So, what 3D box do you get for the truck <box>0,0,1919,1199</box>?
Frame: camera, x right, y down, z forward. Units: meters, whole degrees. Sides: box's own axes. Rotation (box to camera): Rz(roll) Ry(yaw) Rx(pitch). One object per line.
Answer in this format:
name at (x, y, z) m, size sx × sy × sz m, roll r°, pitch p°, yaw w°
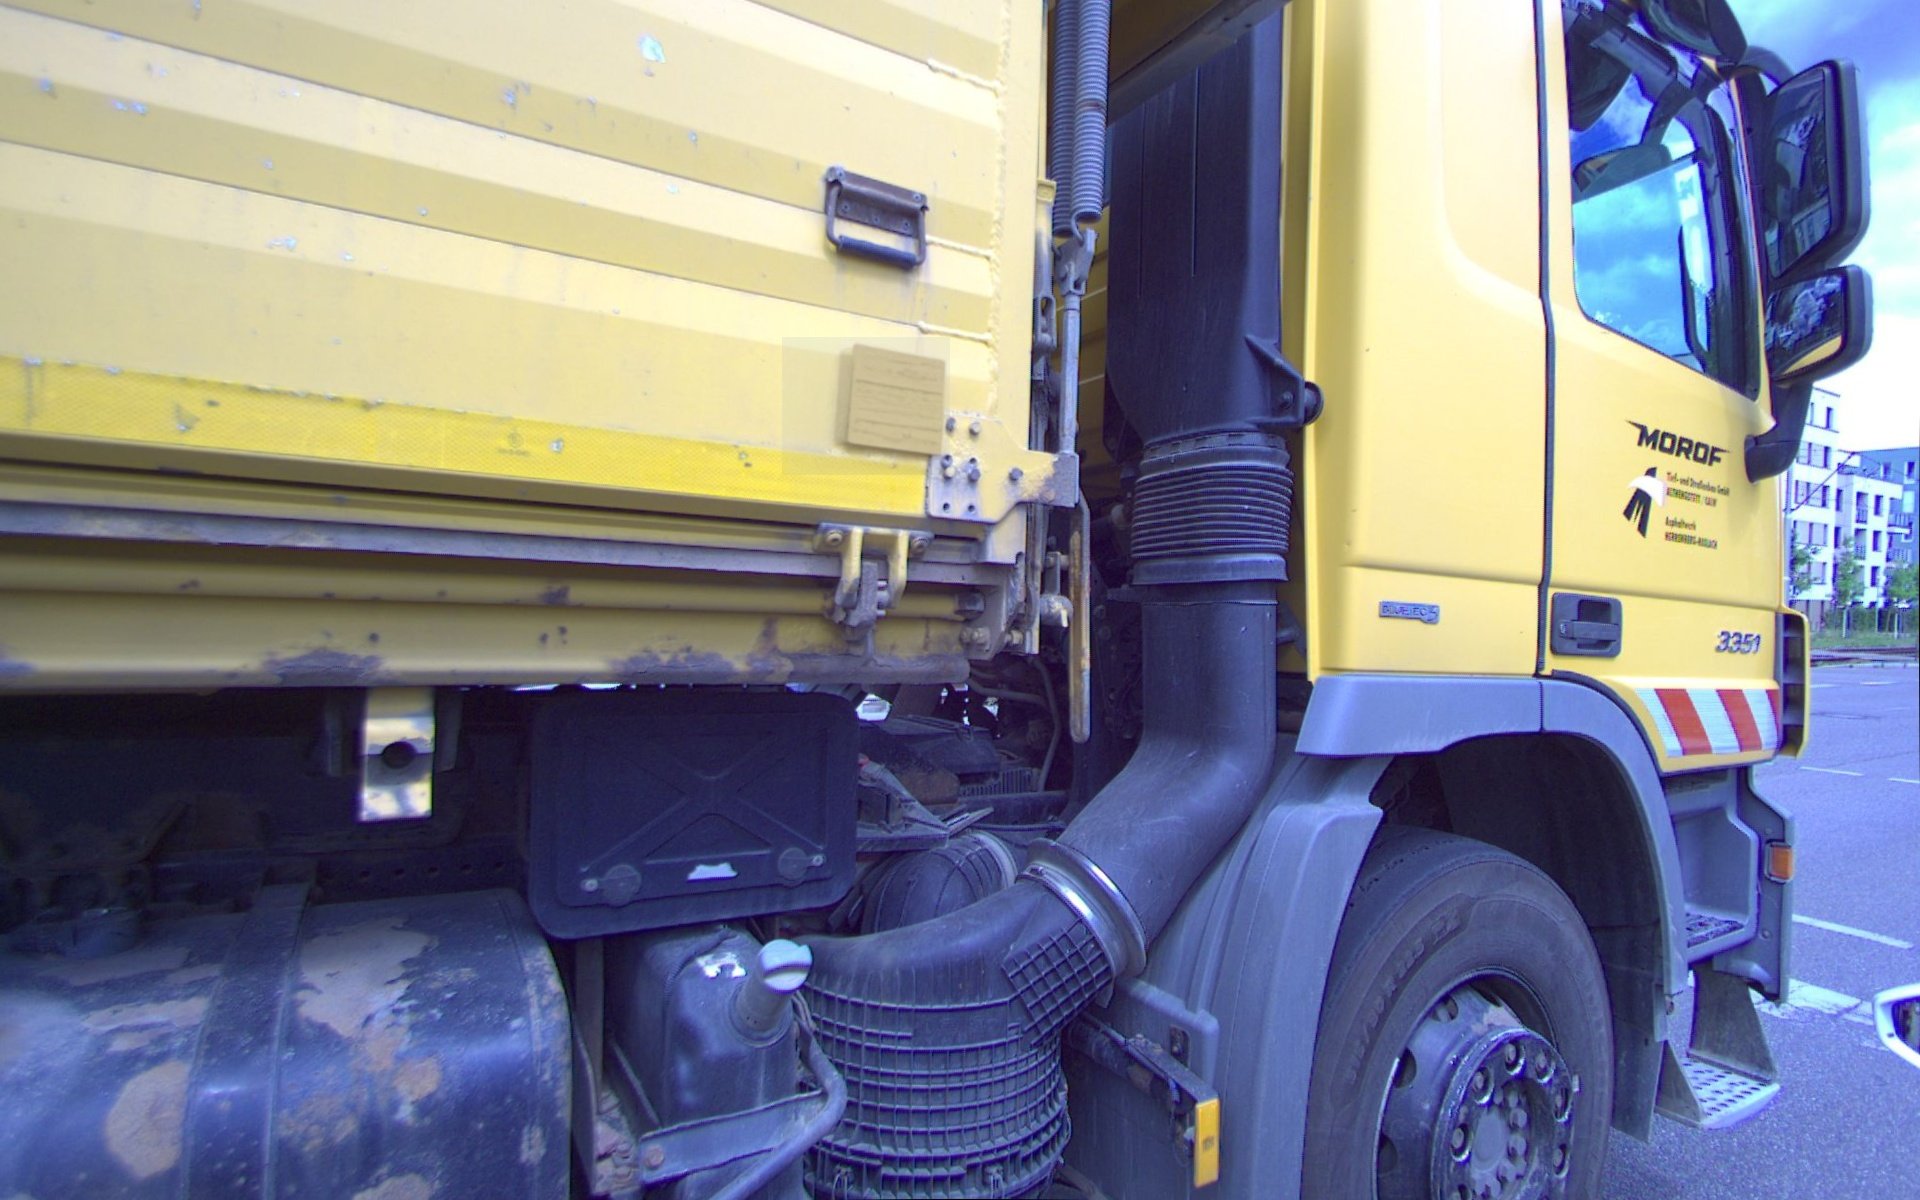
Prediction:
truck at (-1.541, -0.044, 1.573) m, size 7.688 × 3.043 × 2.707 m, roll 2°, pitch 0°, yaw -30°
